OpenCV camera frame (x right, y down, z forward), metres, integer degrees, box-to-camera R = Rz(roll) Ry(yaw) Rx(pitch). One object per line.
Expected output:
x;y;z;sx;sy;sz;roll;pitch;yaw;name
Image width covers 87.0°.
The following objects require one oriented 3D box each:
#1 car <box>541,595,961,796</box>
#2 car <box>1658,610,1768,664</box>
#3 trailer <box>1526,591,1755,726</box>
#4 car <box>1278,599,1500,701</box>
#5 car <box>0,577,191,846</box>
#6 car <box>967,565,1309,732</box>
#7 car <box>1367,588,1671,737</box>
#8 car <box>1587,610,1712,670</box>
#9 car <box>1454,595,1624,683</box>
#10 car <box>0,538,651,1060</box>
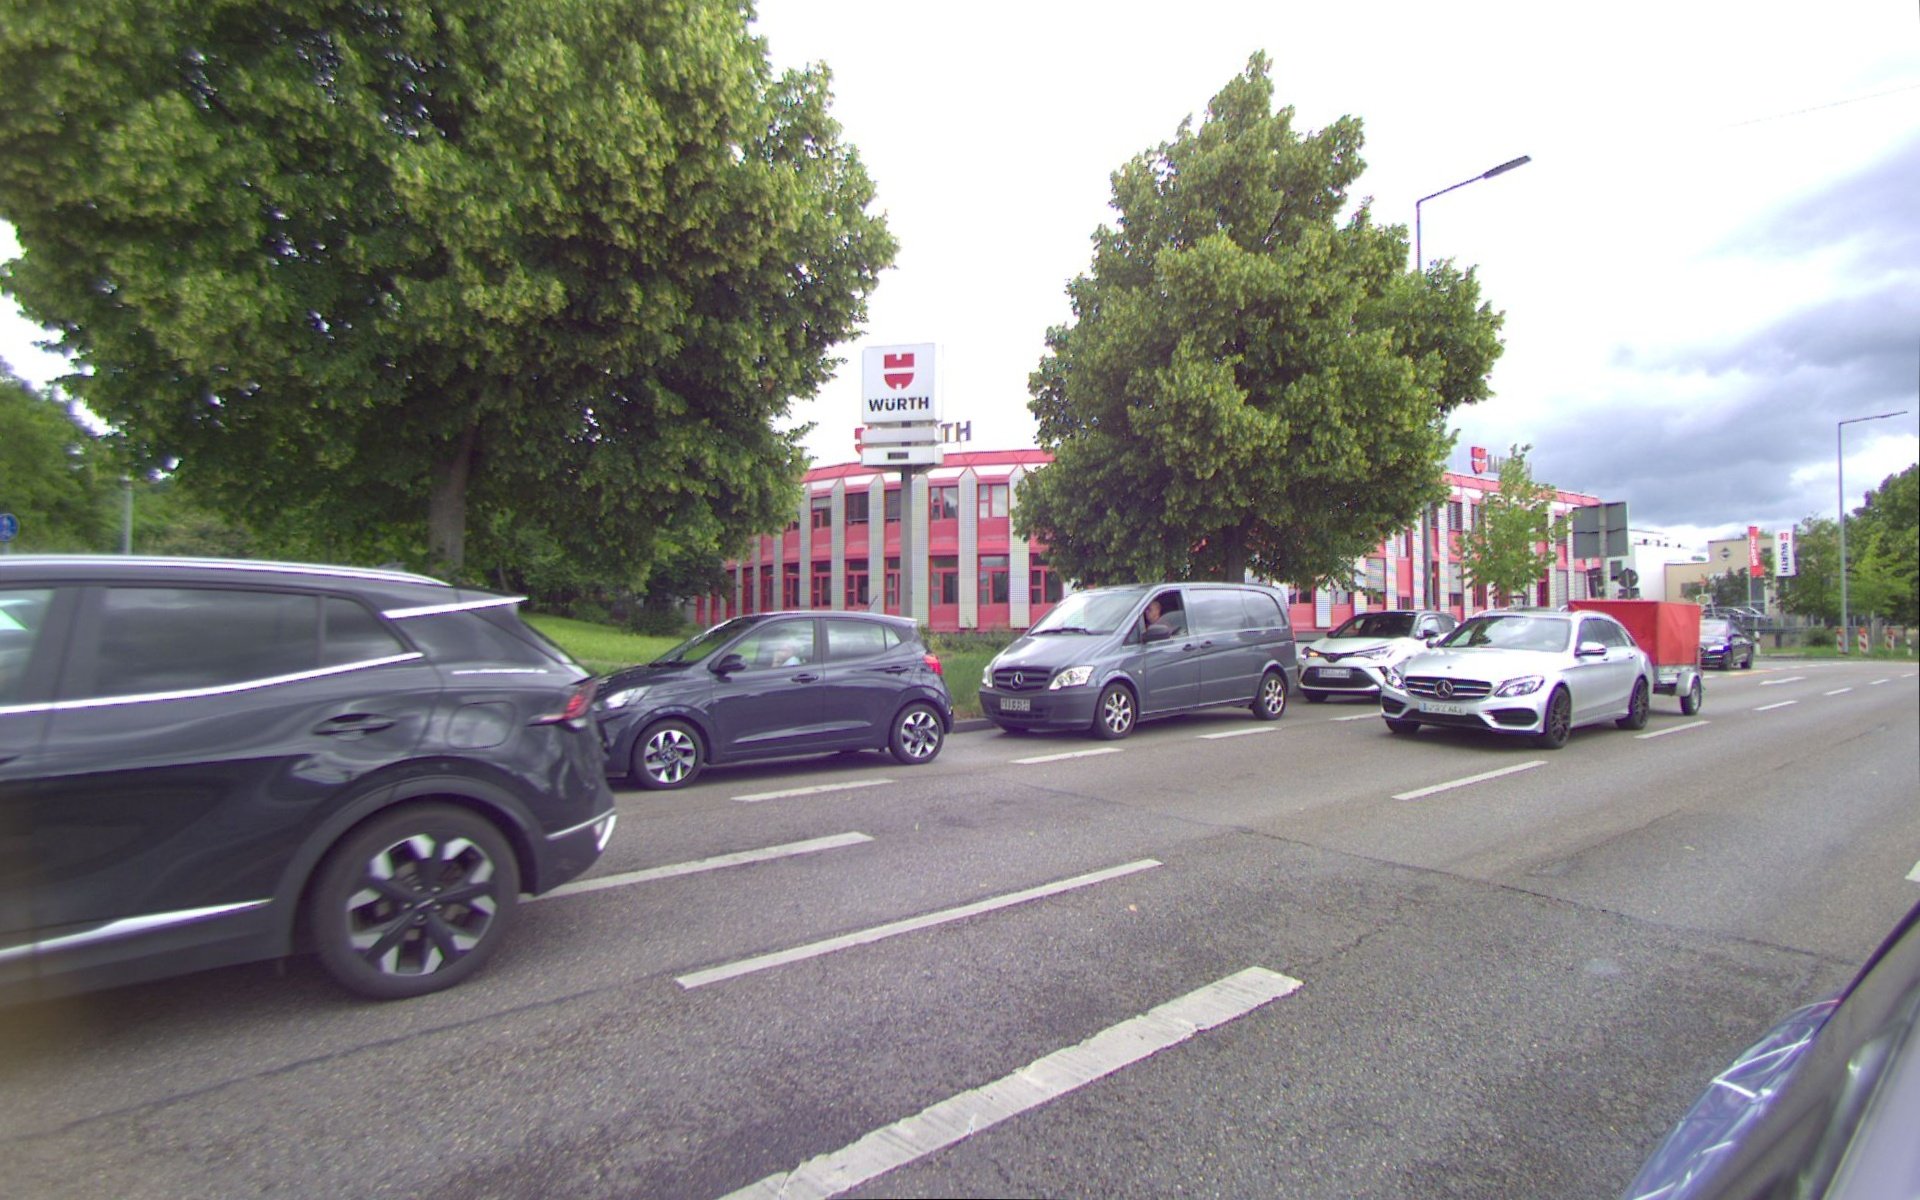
-1.908;0.776;9.521;3.495;1.526;1.607;-1;-3;-34;car
22.385;1.038;30.026;4.293;1.458;1.761;0;-1;-41;car
9.994;0.729;14.770;3.926;1.680;1.774;-1;0;-40;trailer
7.409;0.805;17.322;4.034;1.536;1.842;0;-4;-41;car
-7.902;0.705;6.574;4.278;1.676;1.767;0;-1;-20;car
2.428;0.586;13.087;4.591;1.798;1.761;1;-4;-40;car
6.807;0.601;12.130;4.323;1.469;1.774;-1;1;-40;car
18.441;1.004;27.002;4.293;1.458;1.761;0;-1;-41;car
12.394;0.810;21.582;4.133;1.679;1.863;1;-3;-41;car
-3.471;0.588;3.661;4.145;1.549;1.796;-1;1;-41;car
